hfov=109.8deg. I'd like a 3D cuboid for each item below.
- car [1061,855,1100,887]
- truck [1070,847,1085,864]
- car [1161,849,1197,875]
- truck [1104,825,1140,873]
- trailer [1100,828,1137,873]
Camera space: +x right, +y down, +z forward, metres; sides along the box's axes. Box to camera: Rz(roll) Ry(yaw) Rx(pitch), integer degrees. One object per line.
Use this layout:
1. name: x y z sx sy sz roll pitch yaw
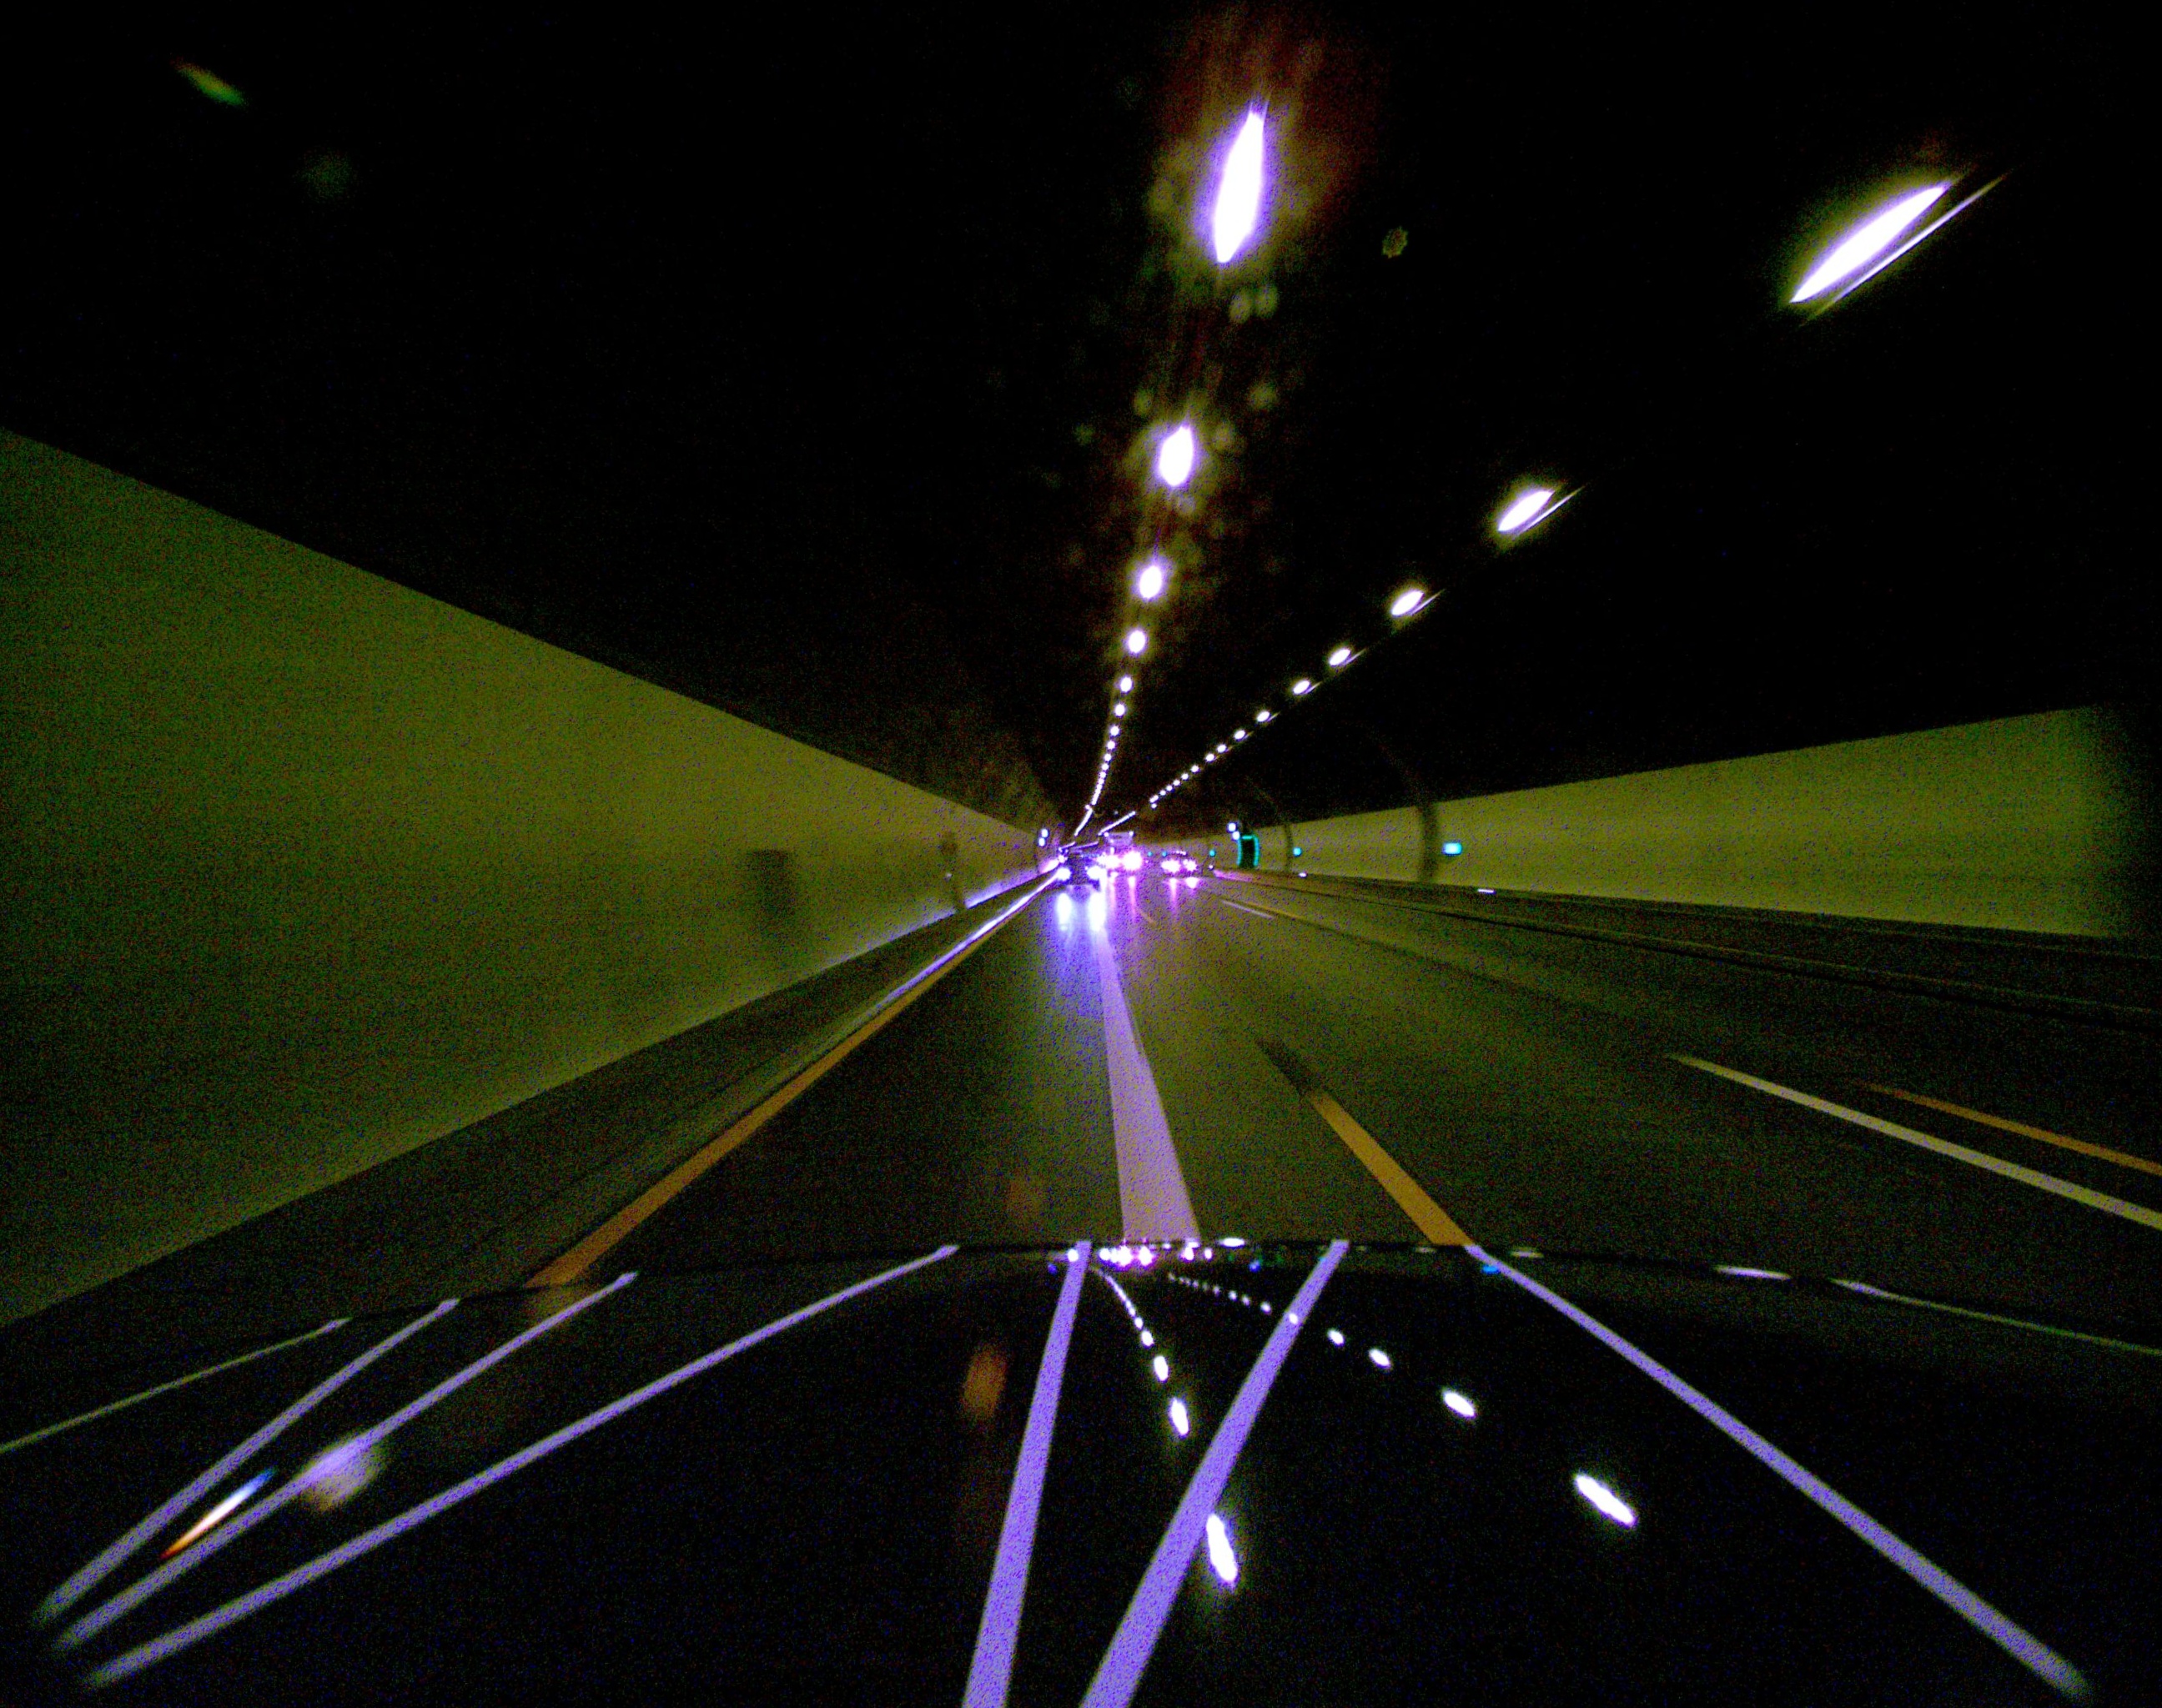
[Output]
1. car: 0.026 0.786 37.007 1.727 1.474 4.000 -1 0 3
2. truck: -0.529 0.297 122.888 2.151 2.609 9.908 -1 -1 0
3. car: 6.237 0.471 48.737 1.766 1.563 4.096 -1 1 -1
4. truck: 3.060 -0.362 56.898 2.374 3.328 4.719 -3 0 2
5. trailer: 2.983 -0.289 63.338 2.374 3.328 12.077 0 0 -1
